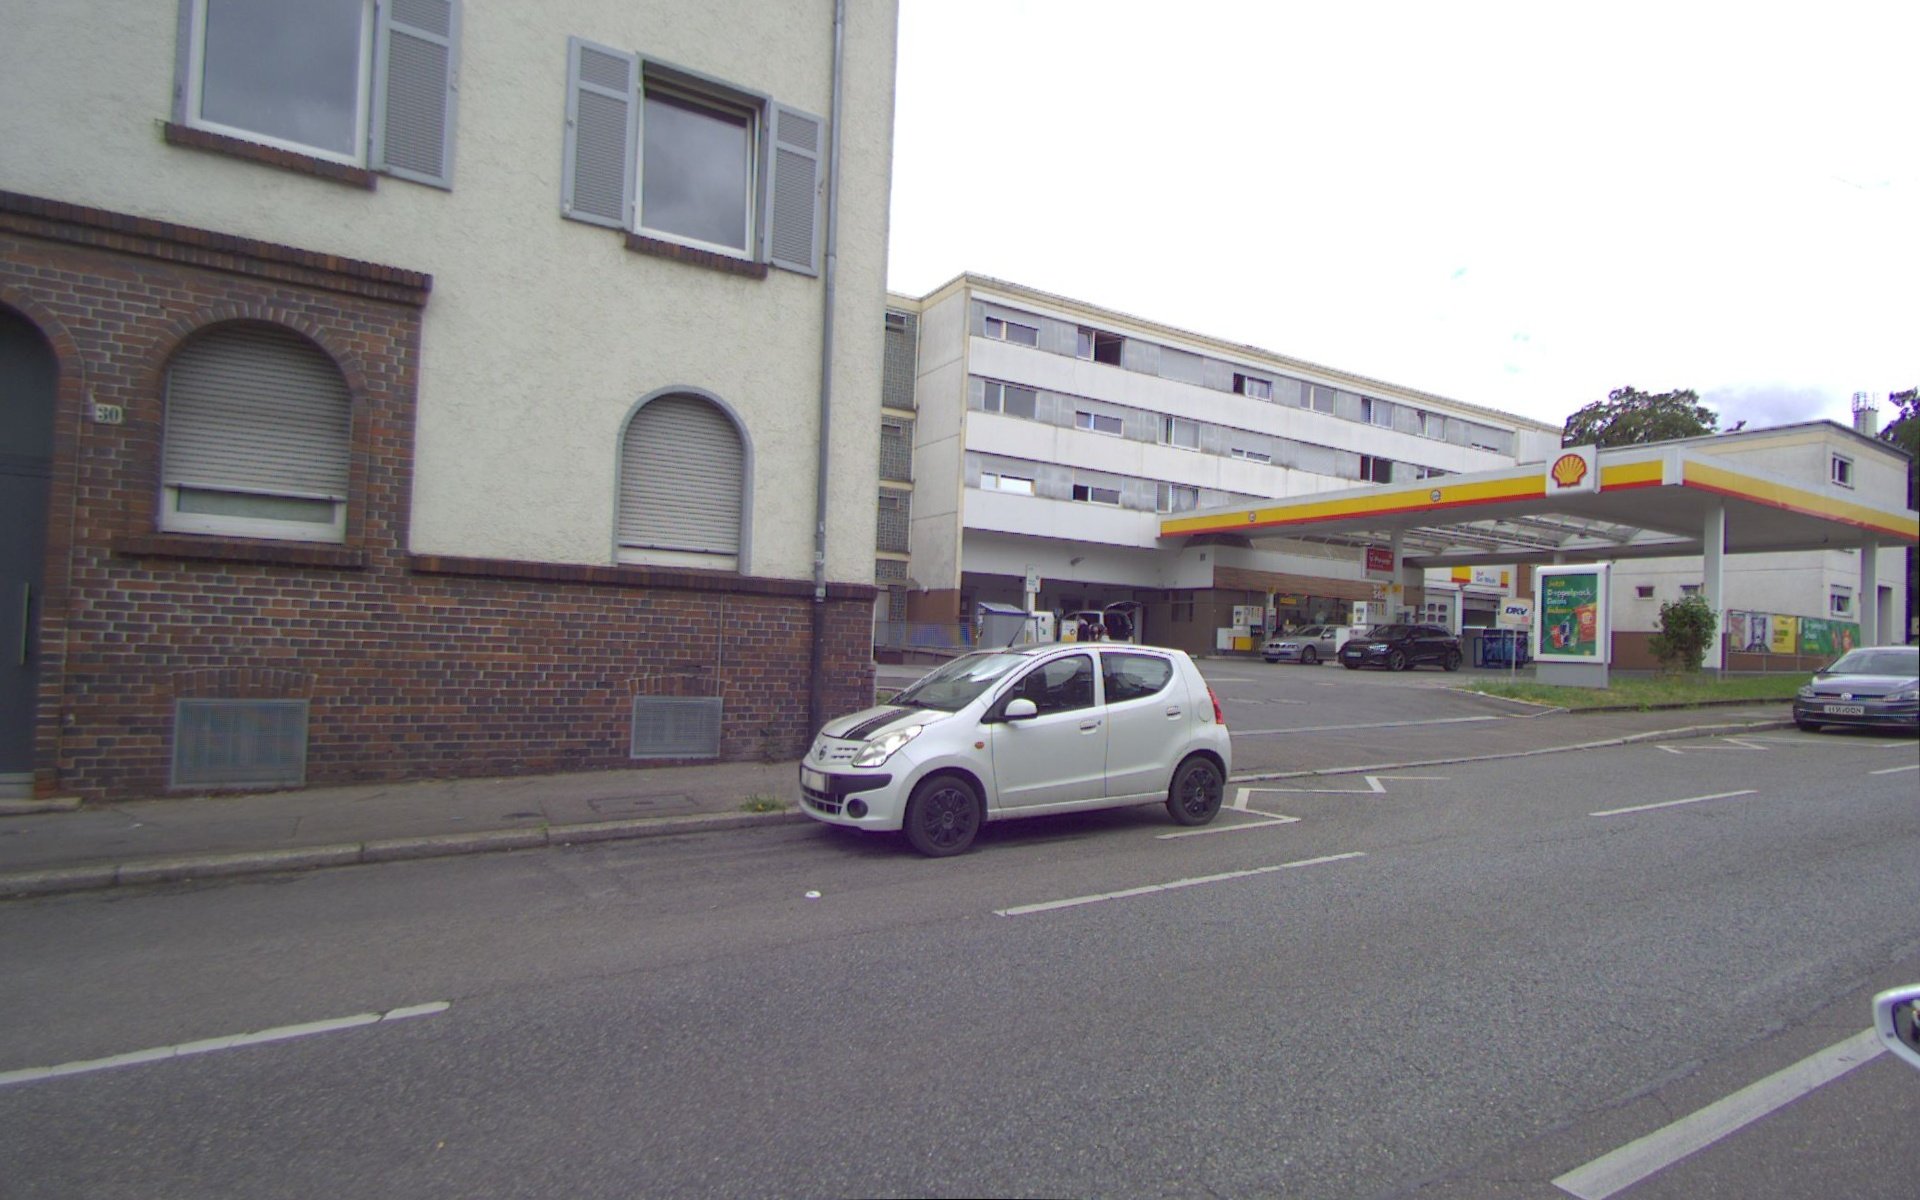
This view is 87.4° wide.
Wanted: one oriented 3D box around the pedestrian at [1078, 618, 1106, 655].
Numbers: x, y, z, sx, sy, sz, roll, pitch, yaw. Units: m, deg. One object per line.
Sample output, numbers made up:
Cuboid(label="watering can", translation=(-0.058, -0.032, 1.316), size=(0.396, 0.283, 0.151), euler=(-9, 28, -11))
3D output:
Cuboid(label="pedestrian", translation=(4.900, 1.350, 37.248), size=(0.792, 1.332, 0.659), euler=(1, 0, -32))

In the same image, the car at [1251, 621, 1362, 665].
Cuboid(label="car", translation=(12.166, 1.504, 35.237), size=(3.594, 1.439, 1.789), euler=(1, -1, -30))

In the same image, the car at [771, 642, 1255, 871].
Cuboid(label="car", translation=(0.475, 1.072, 8.082), size=(3.621, 1.444, 1.612), euler=(1, -2, -30))

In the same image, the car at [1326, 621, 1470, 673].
Cuboid(label="car", translation=(13.240, 1.386, 30.311), size=(4.365, 1.439, 1.789), euler=(1, -1, -30))

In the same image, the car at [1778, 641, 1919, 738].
Cuboid(label="car", translation=(15.995, 1.448, 17.173), size=(4.169, 1.469, 1.782), euler=(1, -3, -30))

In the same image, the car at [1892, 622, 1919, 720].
Cuboid(label="car", translation=(20.590, 1.393, 19.975), size=(4.650, 1.859, 1.842), euler=(2, -3, -32))

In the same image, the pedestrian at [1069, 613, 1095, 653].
Cuboid(label="pedestrian", translation=(4.702, 1.272, 38.700), size=(0.656, 1.537, 0.795), euler=(1, 0, -27))

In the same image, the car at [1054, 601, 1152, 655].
Cuboid(label="car", translation=(5.541, 1.075, 39.370), size=(1.814, 1.989, 3.877), euler=(2, -1, -30))
